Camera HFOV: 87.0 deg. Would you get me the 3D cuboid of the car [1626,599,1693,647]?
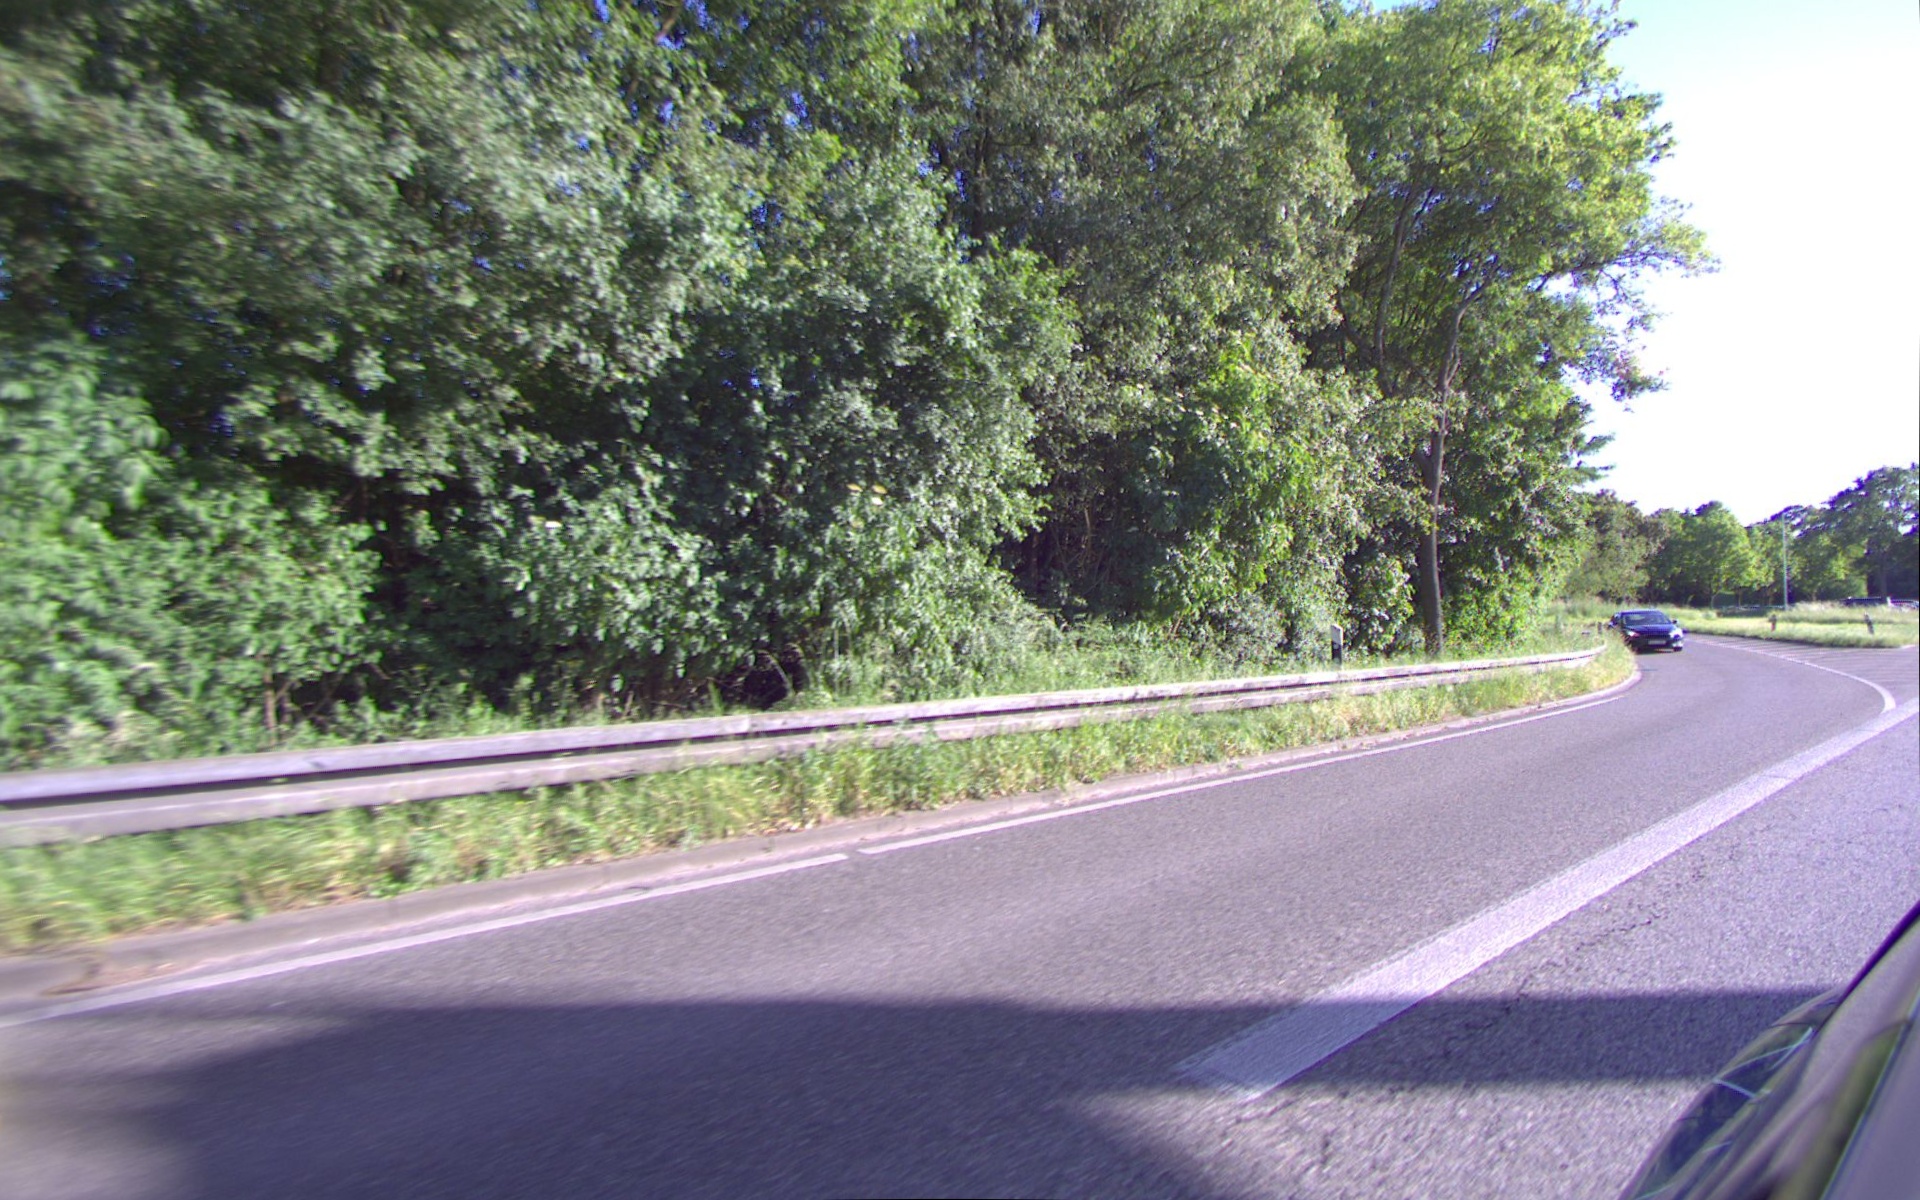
[{"bbox_3d":[24.760,0.764,35.919,1.700,1.594,3.386,0,0,30],"label":"car"}]
